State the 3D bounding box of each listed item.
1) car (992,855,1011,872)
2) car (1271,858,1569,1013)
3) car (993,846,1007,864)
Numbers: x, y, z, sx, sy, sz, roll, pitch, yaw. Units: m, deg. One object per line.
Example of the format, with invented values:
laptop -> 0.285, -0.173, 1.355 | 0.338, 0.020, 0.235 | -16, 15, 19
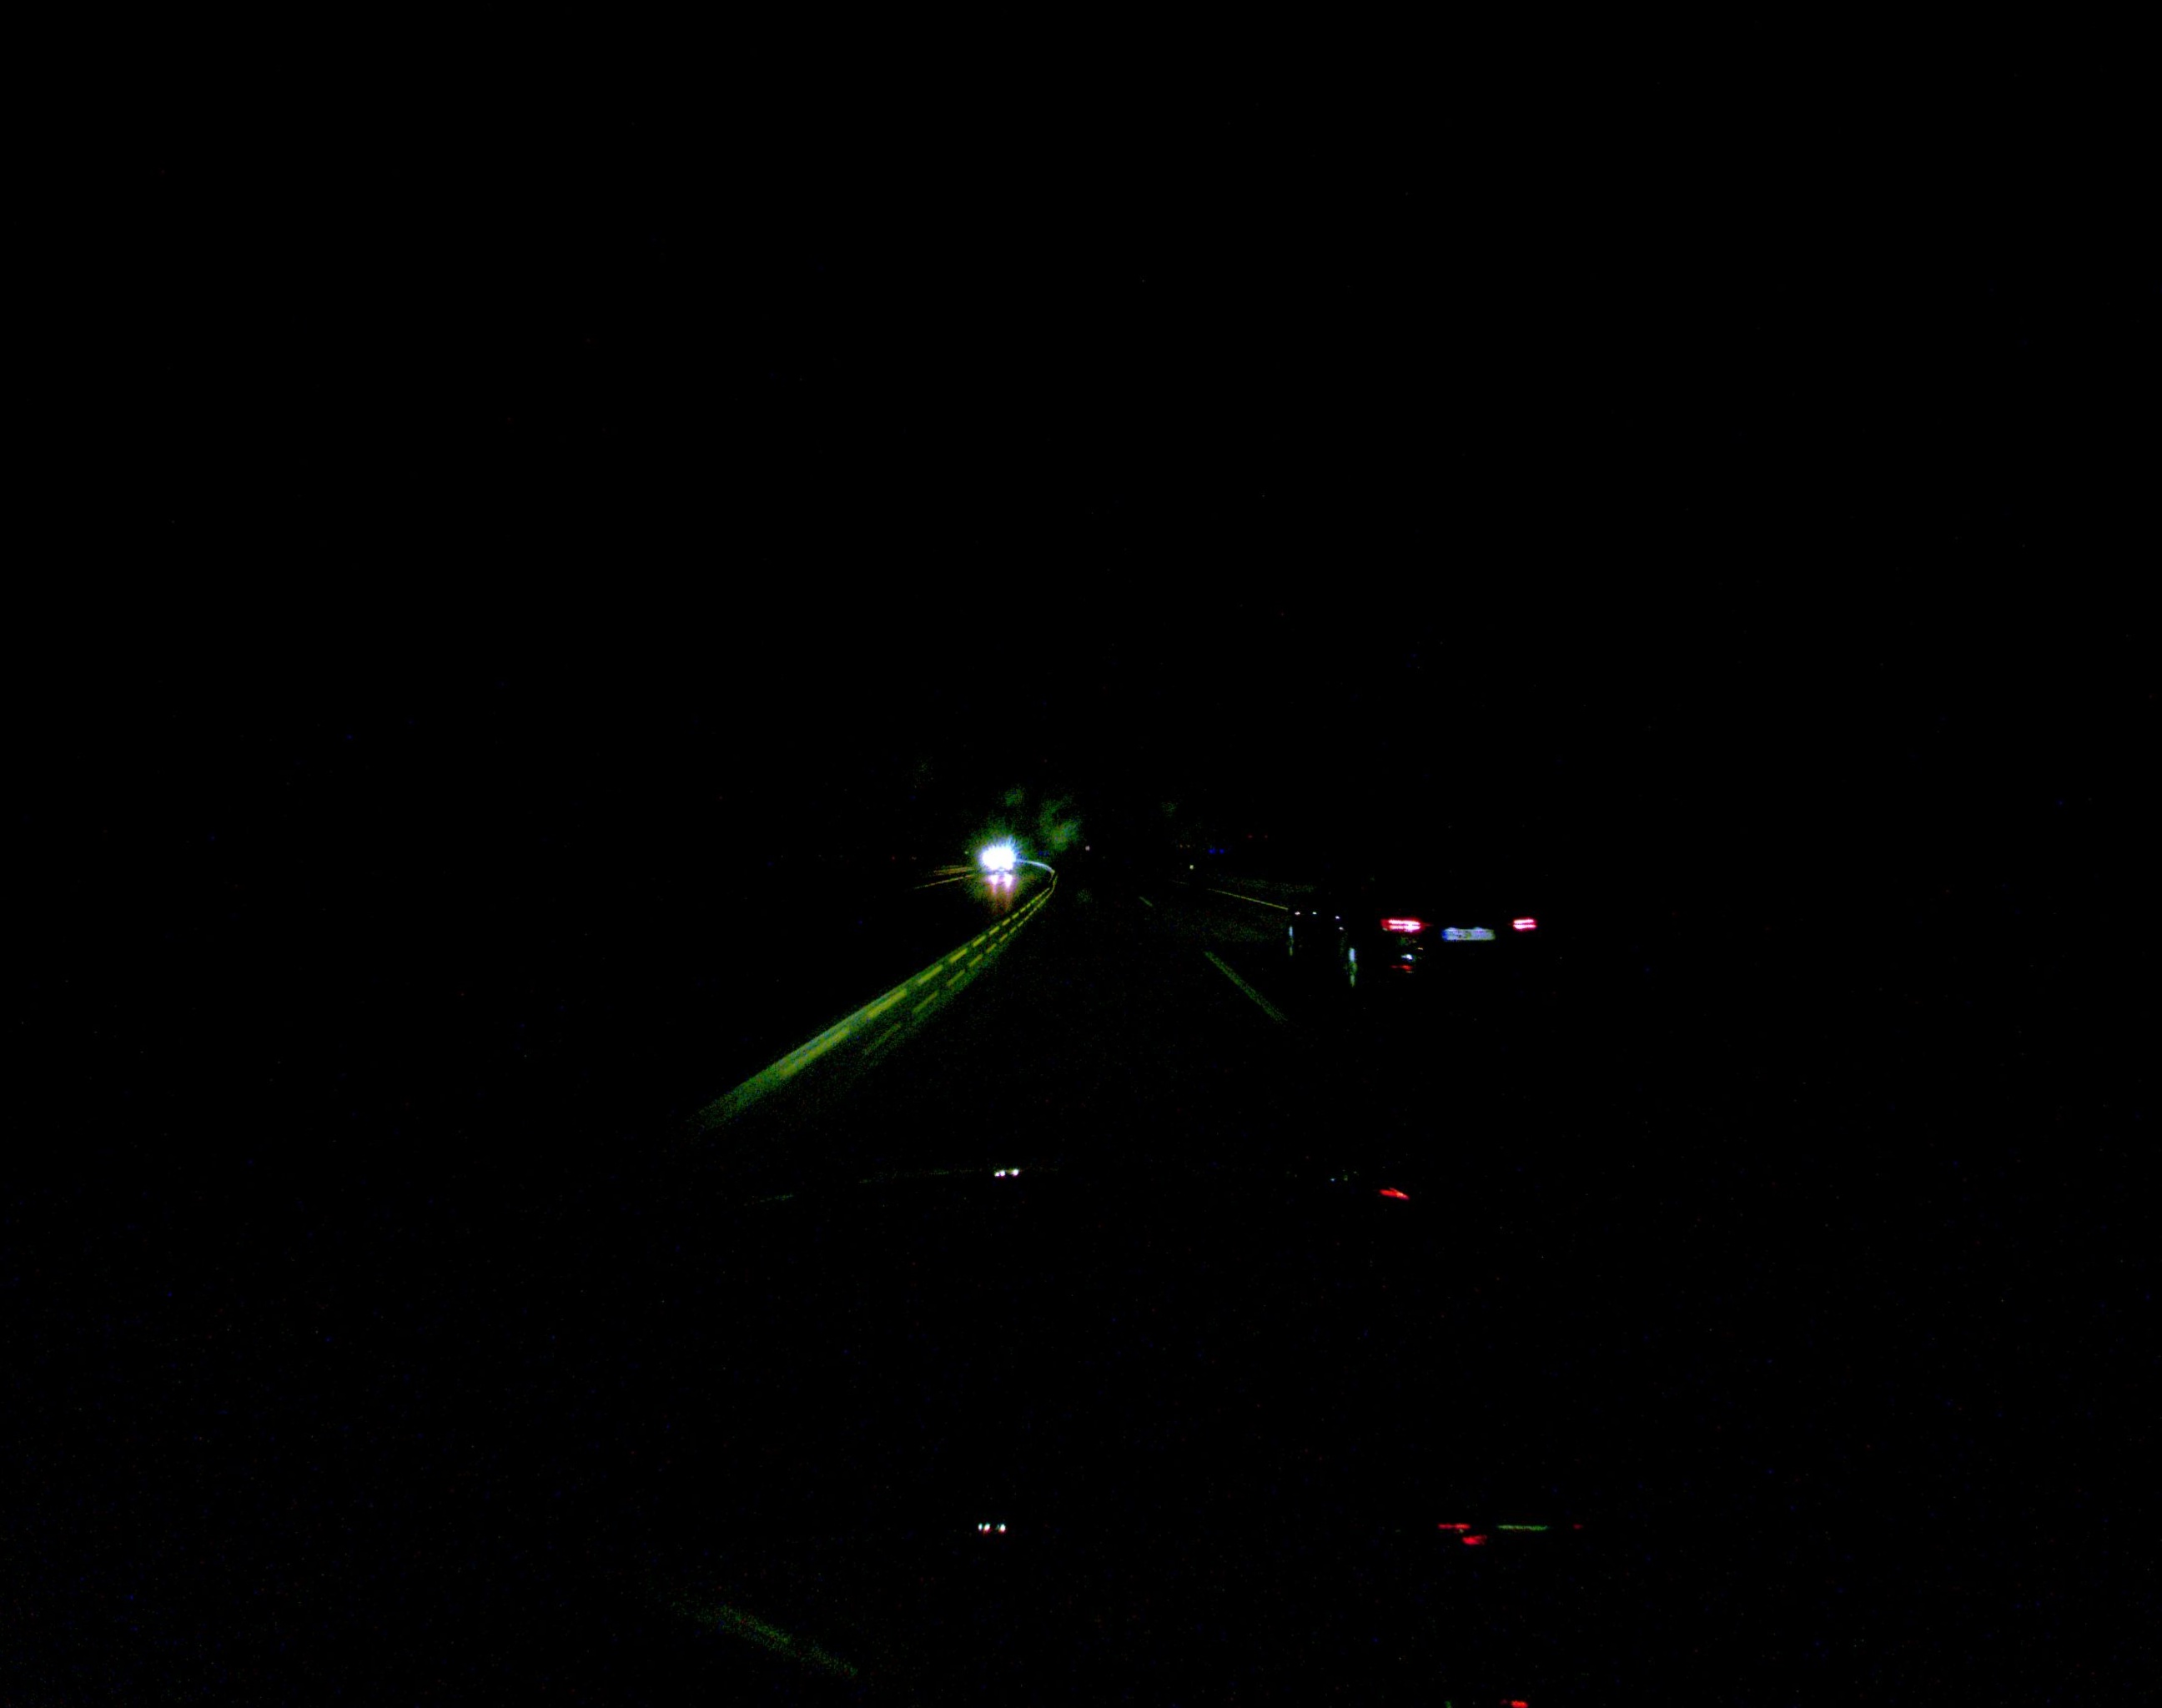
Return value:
car -> -7.232, 0.868, 74.591 | 1.682, 1.459, 4.192 | -1, 0, -5
car -> 3.774, 0.788, 10.143 | 1.801, 1.426, 4.877 | -1, 0, 2
car -> -14.380, 0.225, 145.010 | 2.483, 3.105, 7.370 | -1, -1, -6
